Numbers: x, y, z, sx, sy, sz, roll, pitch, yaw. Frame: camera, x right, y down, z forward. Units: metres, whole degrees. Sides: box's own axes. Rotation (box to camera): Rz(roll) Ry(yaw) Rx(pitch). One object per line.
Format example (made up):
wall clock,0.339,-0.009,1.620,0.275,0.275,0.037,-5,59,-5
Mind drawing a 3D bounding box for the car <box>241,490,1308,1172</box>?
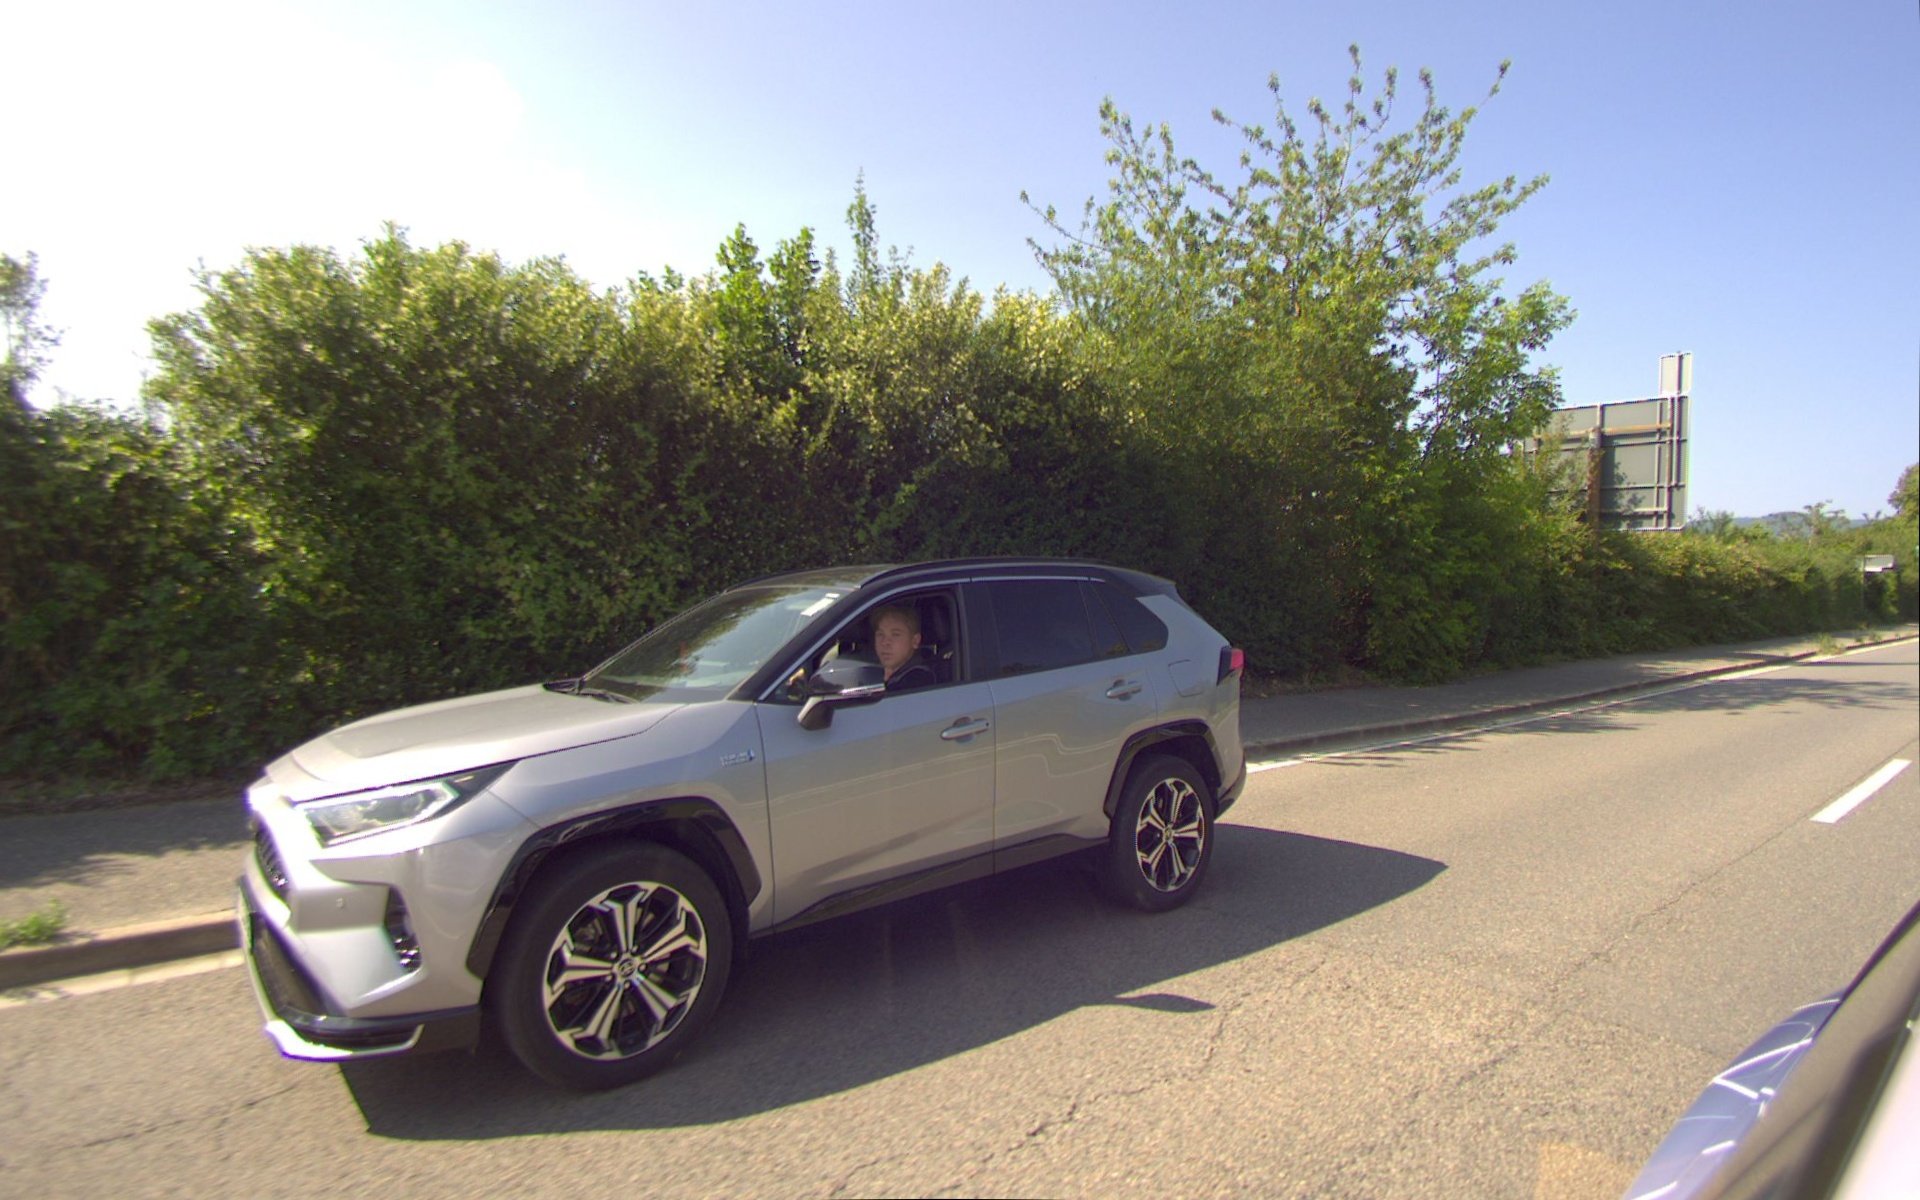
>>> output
car,-0.482,0.566,4.744,4.600,1.701,1.906,0,0,-40
